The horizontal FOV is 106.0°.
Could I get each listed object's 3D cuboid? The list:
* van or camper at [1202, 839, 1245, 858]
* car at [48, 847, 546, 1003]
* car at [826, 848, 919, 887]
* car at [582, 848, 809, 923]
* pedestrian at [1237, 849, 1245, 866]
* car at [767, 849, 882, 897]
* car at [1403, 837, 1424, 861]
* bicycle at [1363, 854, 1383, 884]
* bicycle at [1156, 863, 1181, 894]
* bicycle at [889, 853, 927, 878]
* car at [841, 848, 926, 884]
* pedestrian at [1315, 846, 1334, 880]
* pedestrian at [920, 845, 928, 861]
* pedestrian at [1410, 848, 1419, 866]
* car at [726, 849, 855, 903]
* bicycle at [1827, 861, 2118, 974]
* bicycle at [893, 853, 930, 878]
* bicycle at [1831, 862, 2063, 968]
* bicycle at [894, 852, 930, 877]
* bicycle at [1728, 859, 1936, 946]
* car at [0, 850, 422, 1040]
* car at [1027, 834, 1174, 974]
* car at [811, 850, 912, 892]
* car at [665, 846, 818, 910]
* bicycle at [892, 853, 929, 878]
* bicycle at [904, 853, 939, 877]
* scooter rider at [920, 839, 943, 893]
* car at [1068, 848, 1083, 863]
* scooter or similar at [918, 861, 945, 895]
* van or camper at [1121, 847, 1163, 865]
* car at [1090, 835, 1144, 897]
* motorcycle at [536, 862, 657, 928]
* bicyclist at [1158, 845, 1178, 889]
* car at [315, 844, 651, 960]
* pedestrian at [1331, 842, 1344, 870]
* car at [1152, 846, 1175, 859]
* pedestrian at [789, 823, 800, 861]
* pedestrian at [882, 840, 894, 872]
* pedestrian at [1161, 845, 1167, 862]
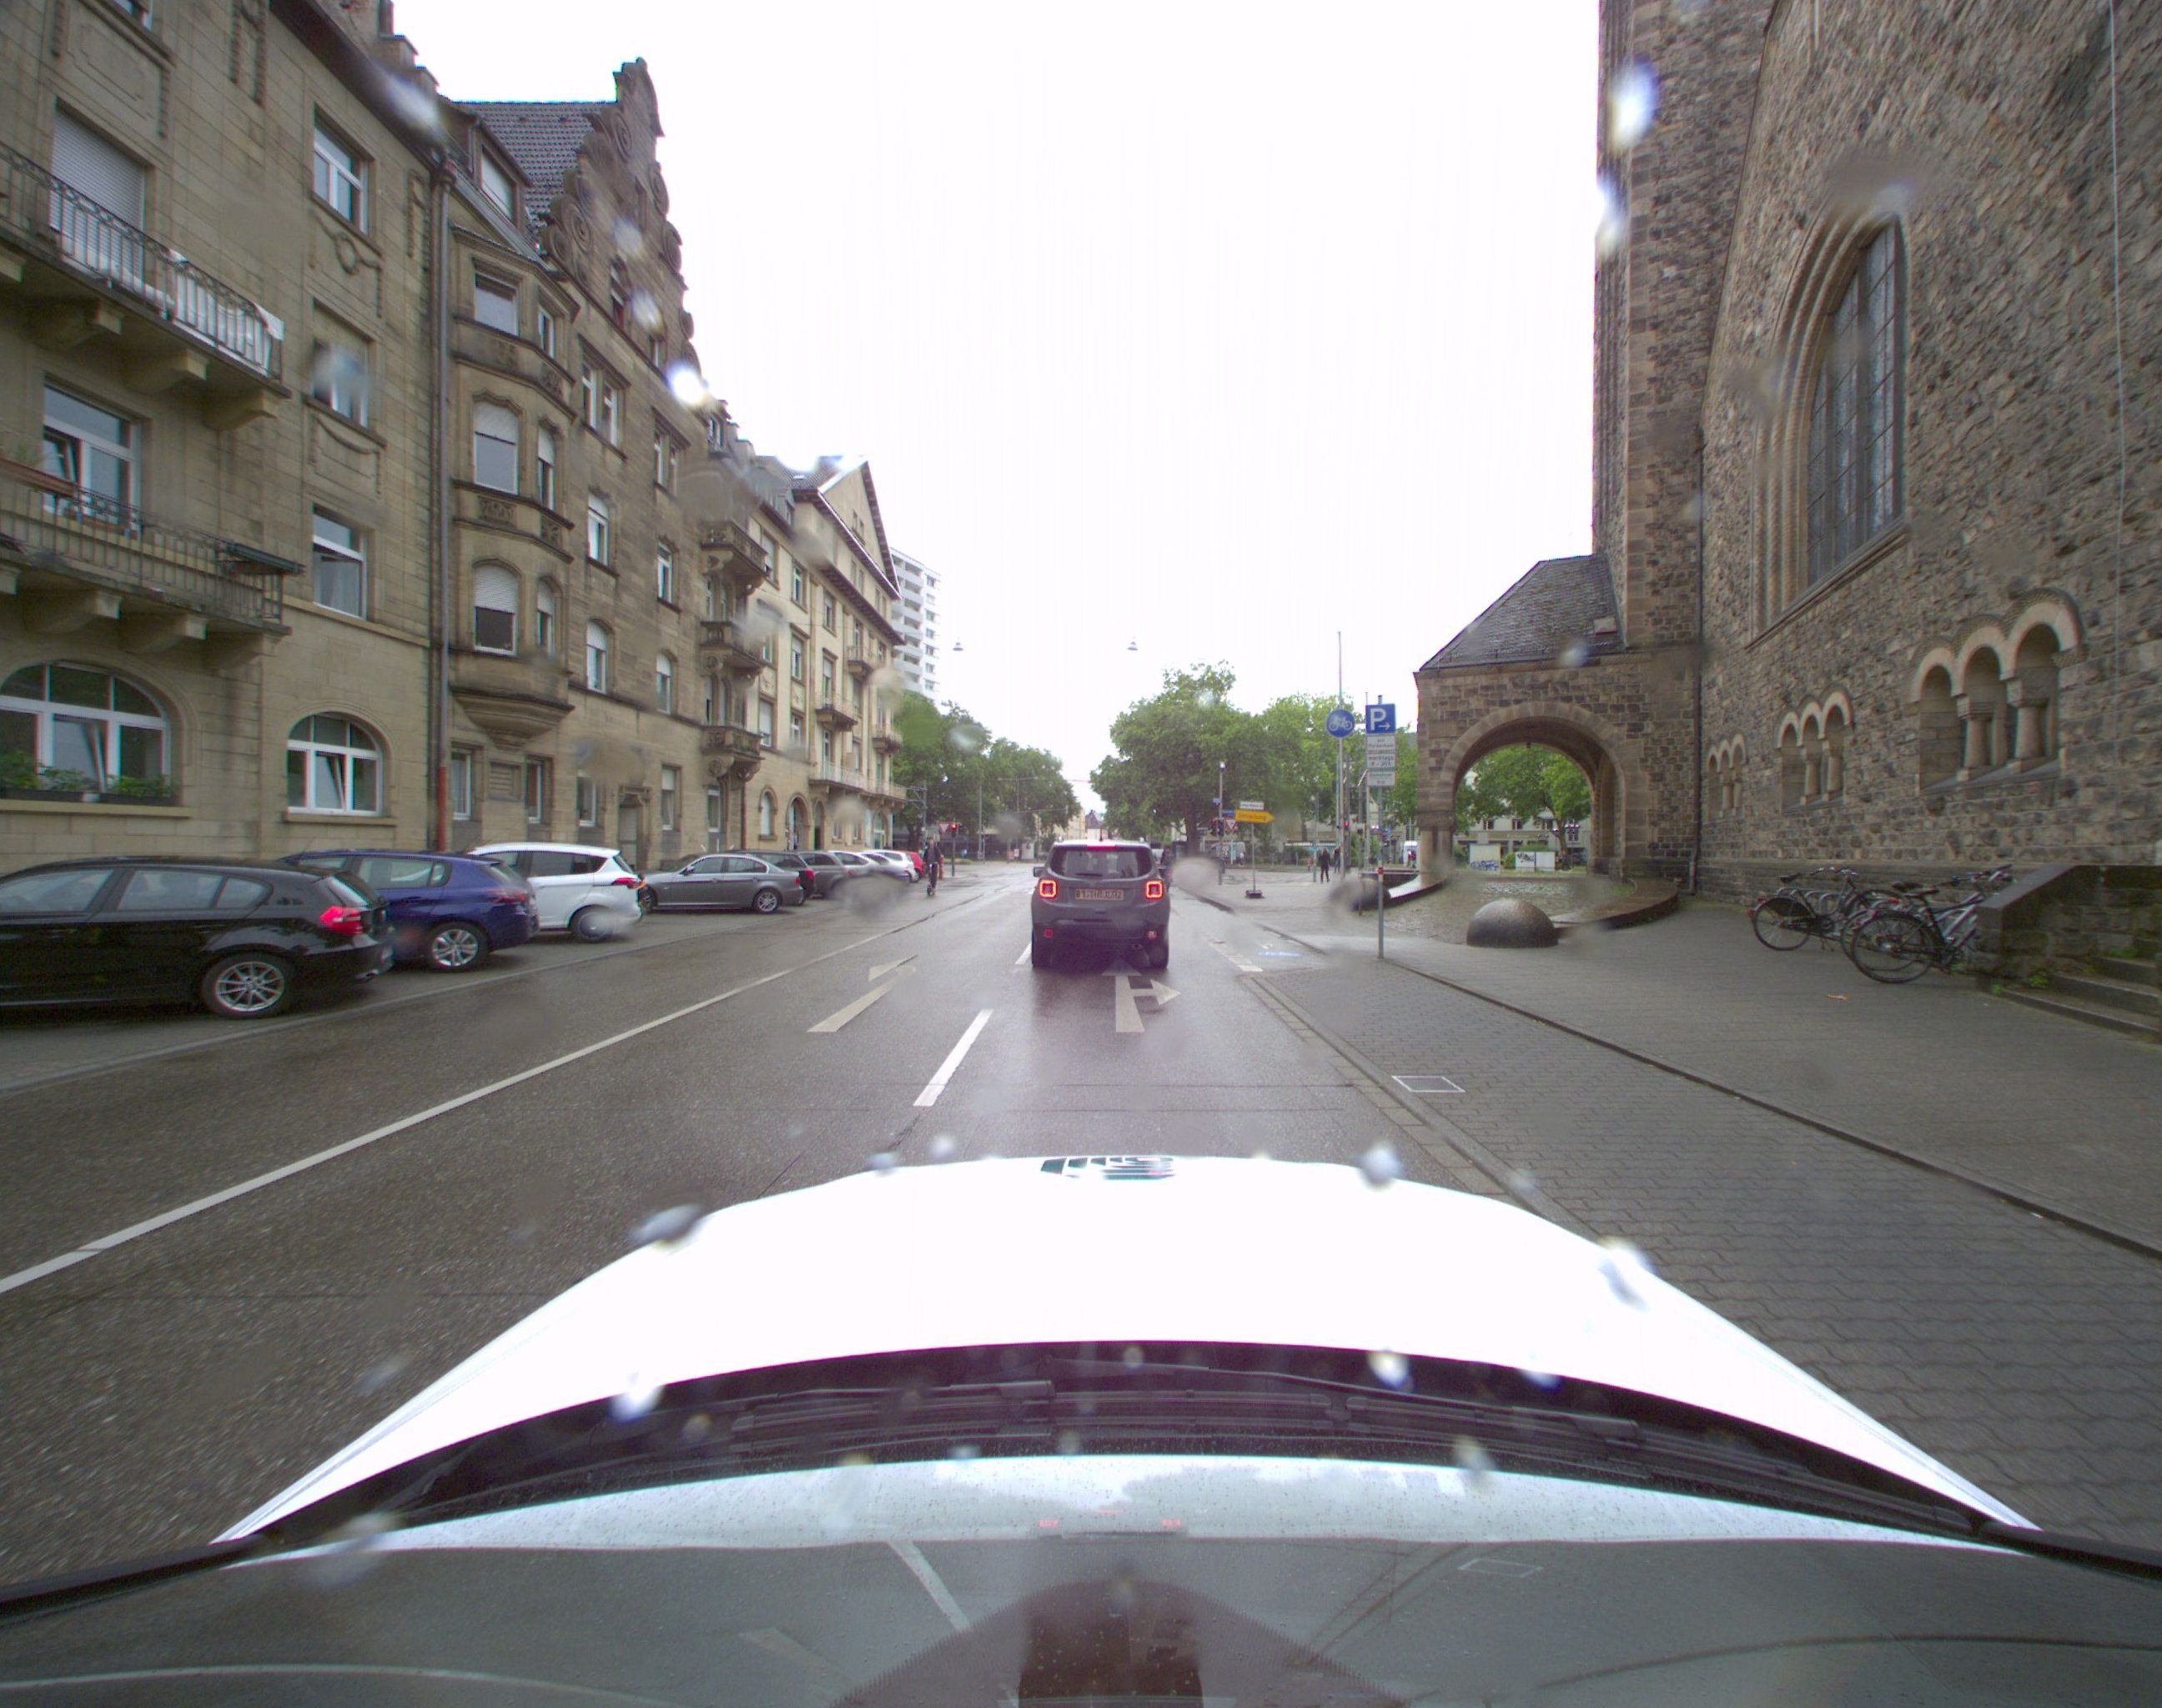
[{"bbox_3d":[18.012,-0.671,102.863,5.232,2.315,2.093,1,1,6],"label":"van or camper"},{"bbox_3d":[-9.151,0.715,10.053,4.053,1.573,1.783,-1,0,-27],"label":"car"},{"bbox_3d":[-8.749,0.518,34.246,3.418,1.558,1.687,0,0,-37],"label":"car"},{"bbox_3d":[-8.973,0.649,19.196,4.572,1.545,1.669,0,0,-41],"label":"car"},{"bbox_3d":[15.161,0.342,77.340,0.607,1.603,0.497,0,0,26],"label":"pedestrian"},{"bbox_3d":[-8.829,0.607,28.128,3.418,1.558,1.687,0,0,-37],"label":"car"},{"bbox_3d":[37.228,-0.577,91.101,1.889,2.555,4.815,0,0,26],"label":"car"},{"bbox_3d":[11.804,0.574,32.950,0.327,1.154,2.080,0,0,8],"label":"bicycle"},{"bbox_3d":[3.260,0.893,30.554,0.689,1.021,2.659,-1,0,2],"label":"bicycle"},{"bbox_3d":[-8.699,0.583,40.984,1.757,1.266,0.522,0,0,0],"label":"bicycle"},{"bbox_3d":[-8.985,0.523,37.173,3.418,1.558,1.687,0,0,-37],"label":"car"},{"bbox_3d":[11.966,0.445,40.021,0.775,1.645,0.659,-1,0,28],"label":"pedestrian"},{"bbox_3d":[-17.897,-0.084,93.007,0.686,1.826,0.623,-1,0,18],"label":"pedestrian"},{"bbox_3d":[29.451,0.299,71.908,0.667,1.554,0.766,0,-1,30],"label":"pedestrian"},{"bbox_3d":[-8.945,0.611,25.164,3.418,1.558,1.634,0,0,-37],"label":"car"},{"bbox_3d":[8.851,0.631,8.170,1.969,1.054,0.515,-2,-1,16],"label":"bicycle"},{"bbox_3d":[-8.792,0.575,42.219,1.804,1.266,0.498,0,0,0],"label":"bicycle"},{"bbox_3d":[9.565,0.675,9.060,1.696,1.111,0.564,-2,-1,16],"label":"bicycle"},{"bbox_3d":[-8.949,0.553,43.257,1.757,1.266,0.608,0,0,0],"label":"bicycle"},{"bbox_3d":[10.137,0.656,11.069,1.970,1.105,0.694,-2,-1,13],"label":"bicycle"},{"bbox_3d":[-8.847,0.733,7.483,4.054,1.512,1.782,-1,0,-28],"label":"car"},{"bbox_3d":[0.293,0.594,11.870,1.768,1.687,3.849,-1,0,2],"label":"car"},{"bbox_3d":[-8.461,0.608,31.469,3.418,1.558,1.687,0,0,-37],"label":"car"},{"bbox_3d":[-9.175,0.583,22.129,3.570,1.598,1.588,0,0,-37],"label":"car"},{"bbox_3d":[-8.693,0.571,41.531,1.804,1.266,0.498,0,0,0],"label":"bicycle"},{"bbox_3d":[-8.622,0.591,44.123,1.757,1.266,0.608,0,0,0],"label":"bicycle"},{"bbox_3d":[-5.430,0.441,29.657,0.708,1.935,0.503,-1,0,0],"label":"scooter rider"},{"bbox_3d":[-0.626,0.160,93.604,1.716,1.739,3.728,0,0,-1],"label":"car"},{"bbox_3d":[-5.425,0.858,29.655,0.698,1.165,1.385,-1,0,0],"label":"scooter or similar"},{"bbox_3d":[9.974,0.248,133.800,6.465,2.912,2.510,0,0,29],"label":"van or camper"},{"bbox_3d":[1.274,0.385,28.672,1.763,2.013,4.002,0,0,2],"label":"car"},{"bbox_3d":[-9.084,0.768,15.299,1.880,1.161,0.627,2,-1,-35],"label":"motorcycle"},{"bbox_3d":[3.252,0.485,30.483,0.684,1.617,0.884,-1,0,1],"label":"bicyclist"},{"bbox_3d":[-9.276,0.633,12.937,4.063,1.555,1.778,-1,0,-39],"label":"car"},{"bbox_3d":[16.217,0.122,51.435,0.779,1.759,0.950,-1,0,17],"label":"pedestrian"},{"bbox_3d":[12.917,-0.225,127.818,3.410,2.014,1.554,-1,0,15],"label":"car"},{"bbox_3d":[-13.570,-0.570,38.572,0.365,1.822,0.347,-1,-1,0],"label":"pedestrian"},{"bbox_3d":[-12.144,0.106,51.278,0.565,2.013,0.655,0,0,2],"label":"pedestrian"},{"bbox_3d":[10.316,-0.075,100.974,0.646,2.013,0.484,0,0,14],"label":"pedestrian"}]
